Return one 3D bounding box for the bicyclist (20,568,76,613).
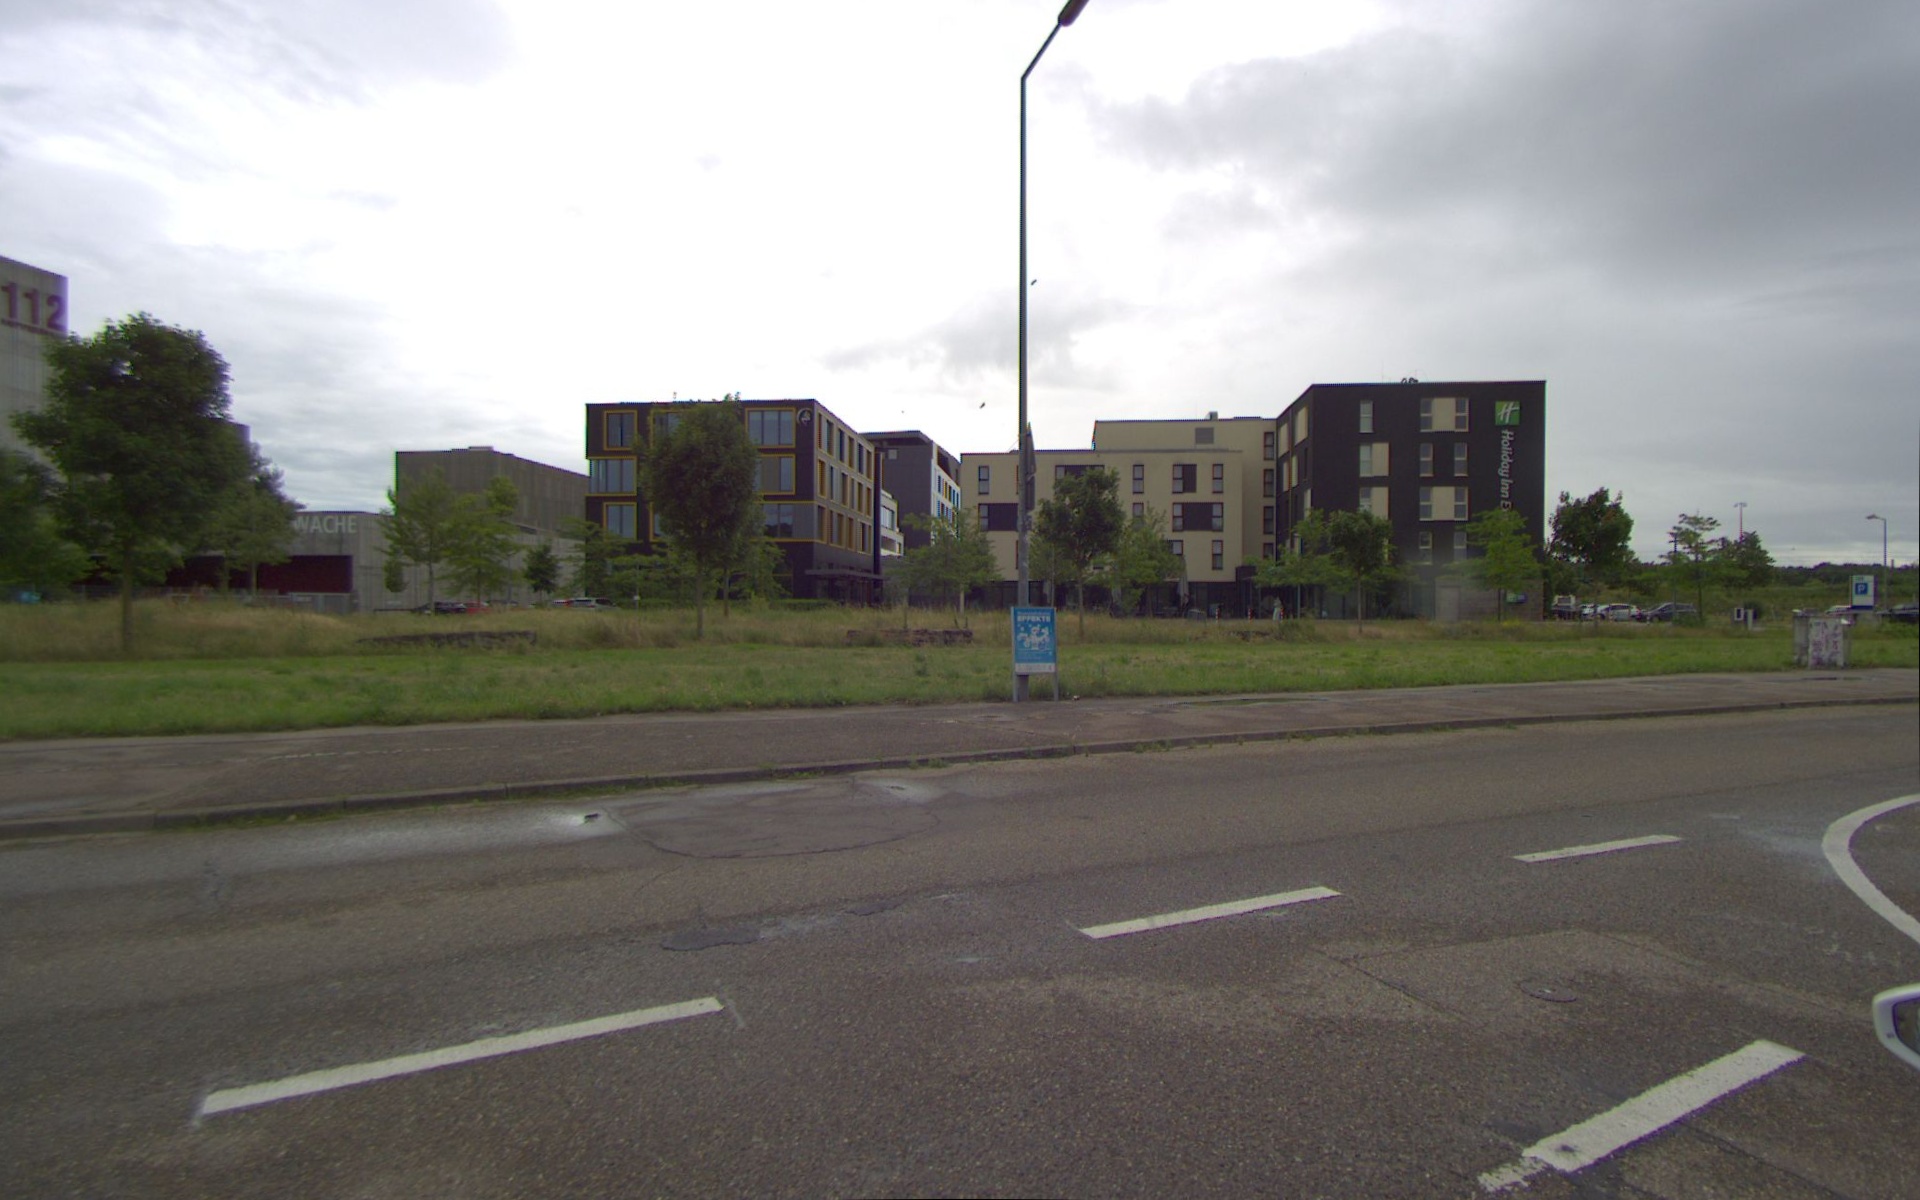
[{"bbox_3d":[-39.496,-0.413,43.527,1.055,1.925,1.403,-1,1,4],"label":"bicyclist"}]

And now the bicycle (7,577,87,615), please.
[{"bbox_3d":[-39.501,-0.185,43.519,1.065,1.605,2.501,-1,0,5],"label":"bicycle"}]

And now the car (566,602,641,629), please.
[{"bbox_3d":[-22.182,0.985,62.581,3.921,1.544,2.000,-1,-1,1],"label":"car"}]

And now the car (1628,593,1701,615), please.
[{"bbox_3d":[49.675,0.289,70.881,3.919,1.461,1.699,-1,0,5],"label":"car"}]

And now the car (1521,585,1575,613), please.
[{"bbox_3d":[64.374,-0.125,110.185,2.659,2.996,6.579,-1,0,7],"label":"car"}]

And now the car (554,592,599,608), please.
[{"bbox_3d":[-39.840,0.035,104.400,3.921,1.544,2.000,-1,-1,1],"label":"car"}]

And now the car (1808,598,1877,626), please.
[{"bbox_3d":[59.591,0.790,67.908,1.768,1.776,3.678,-1,0,8],"label":"car"}]

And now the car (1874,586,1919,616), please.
[{"bbox_3d":[59.294,0.041,62.280,1.959,1.847,4.002,-1,0,7],"label":"car"}]

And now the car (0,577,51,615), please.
[{"bbox_3d":[-52.828,-0.214,55.225,1.960,2.040,4.000,-1,0,1],"label":"car"}]

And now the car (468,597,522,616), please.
[{"bbox_3d":[-40.666,0.593,87.910,3.921,1.544,1.811,-1,-1,0],"label":"car"}]

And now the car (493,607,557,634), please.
[{"bbox_3d":[-31.998,1.477,74.053,2.163,1.889,5.100,-1,0,4],"label":"car"}]

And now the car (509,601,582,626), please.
[{"bbox_3d":[-27.270,0.908,66.191,3.921,1.544,2.000,-1,-1,1],"label":"car"}]

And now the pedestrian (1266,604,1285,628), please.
[{"bbox_3d":[21.467,1.053,68.275,0.860,1.592,0.952,-1,1,-11],"label":"pedestrian"}]

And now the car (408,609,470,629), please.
[{"bbox_3d":[-41.534,1.525,80.162,3.921,1.544,2.000,-1,-1,1],"label":"car"}]

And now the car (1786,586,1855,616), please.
[{"bbox_3d":[60.058,0.045,70.200,1.959,2.040,4.002,-1,0,12],"label":"car"}]

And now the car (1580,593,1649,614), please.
[{"bbox_3d":[50.903,0.274,78.202,4.072,1.538,1.999,-1,0,-2],"label":"car"}]
